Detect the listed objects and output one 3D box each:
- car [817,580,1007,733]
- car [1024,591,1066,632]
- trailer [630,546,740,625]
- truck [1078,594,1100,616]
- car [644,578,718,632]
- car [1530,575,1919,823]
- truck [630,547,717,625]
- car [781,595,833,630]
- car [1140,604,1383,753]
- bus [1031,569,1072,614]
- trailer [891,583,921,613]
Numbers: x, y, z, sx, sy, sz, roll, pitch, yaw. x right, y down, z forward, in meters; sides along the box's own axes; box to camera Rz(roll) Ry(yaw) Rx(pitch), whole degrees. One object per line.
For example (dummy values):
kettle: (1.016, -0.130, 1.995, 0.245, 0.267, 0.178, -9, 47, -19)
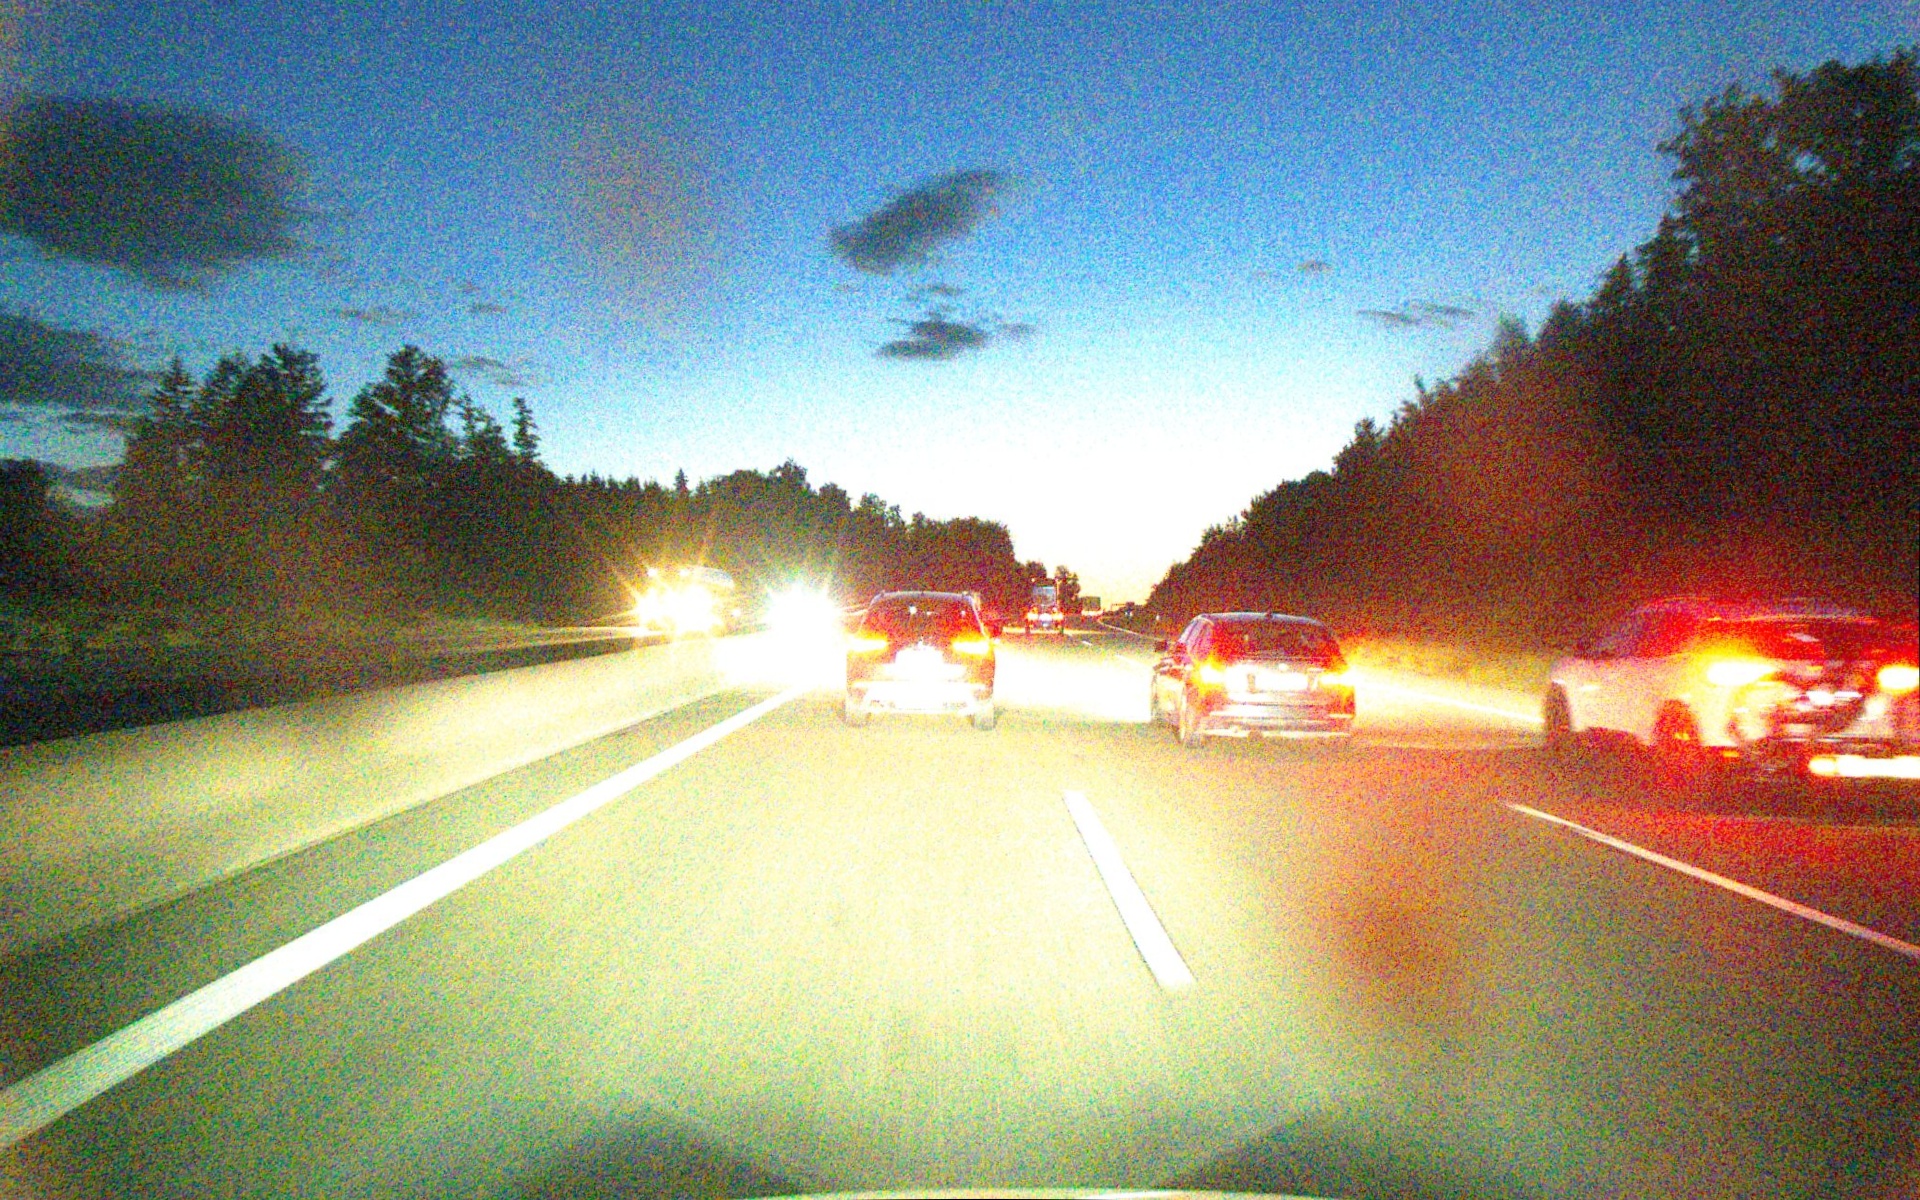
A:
car: (-0.590, 0.601, 20.393, 2.063, 1.646, 4.203, 1, 1, -2)
car: (4.076, 0.578, 79.563, 1.871, 1.760, 4.001, 3, -1, 3)
trailer: (-15.484, -0.732, 94.551, 3.365, 4.077, 14.762, 1, 0, 1)
truck: (18.633, 0.703, 239.577, 2.493, 3.069, 9.053, 1, 0, 1)
car: (-12.089, 0.204, 72.100, 2.010, 2.236, 6.966, 0, 0, 0)
car: (6.781, 0.701, 14.341, 1.952, 1.748, 5.168, 0, 0, 1)
truck: (-15.589, -0.737, 90.581, 3.365, 4.077, 6.776, 1, 0, 1)
car: (-7.572, 0.589, 82.061, 2.023, 1.651, 4.696, 0, 0, 1)
car: (3.230, 0.776, 18.732, 1.797, 1.425, 5.068, 0, 0, 0)
bus: (9.441, -0.795, 168.992, 2.596, 4.064, 14.712, -2, -2, 9)
trailer: (-6.915, -0.274, 212.565, 2.993, 3.753, 7.233, 1, 0, 4)
